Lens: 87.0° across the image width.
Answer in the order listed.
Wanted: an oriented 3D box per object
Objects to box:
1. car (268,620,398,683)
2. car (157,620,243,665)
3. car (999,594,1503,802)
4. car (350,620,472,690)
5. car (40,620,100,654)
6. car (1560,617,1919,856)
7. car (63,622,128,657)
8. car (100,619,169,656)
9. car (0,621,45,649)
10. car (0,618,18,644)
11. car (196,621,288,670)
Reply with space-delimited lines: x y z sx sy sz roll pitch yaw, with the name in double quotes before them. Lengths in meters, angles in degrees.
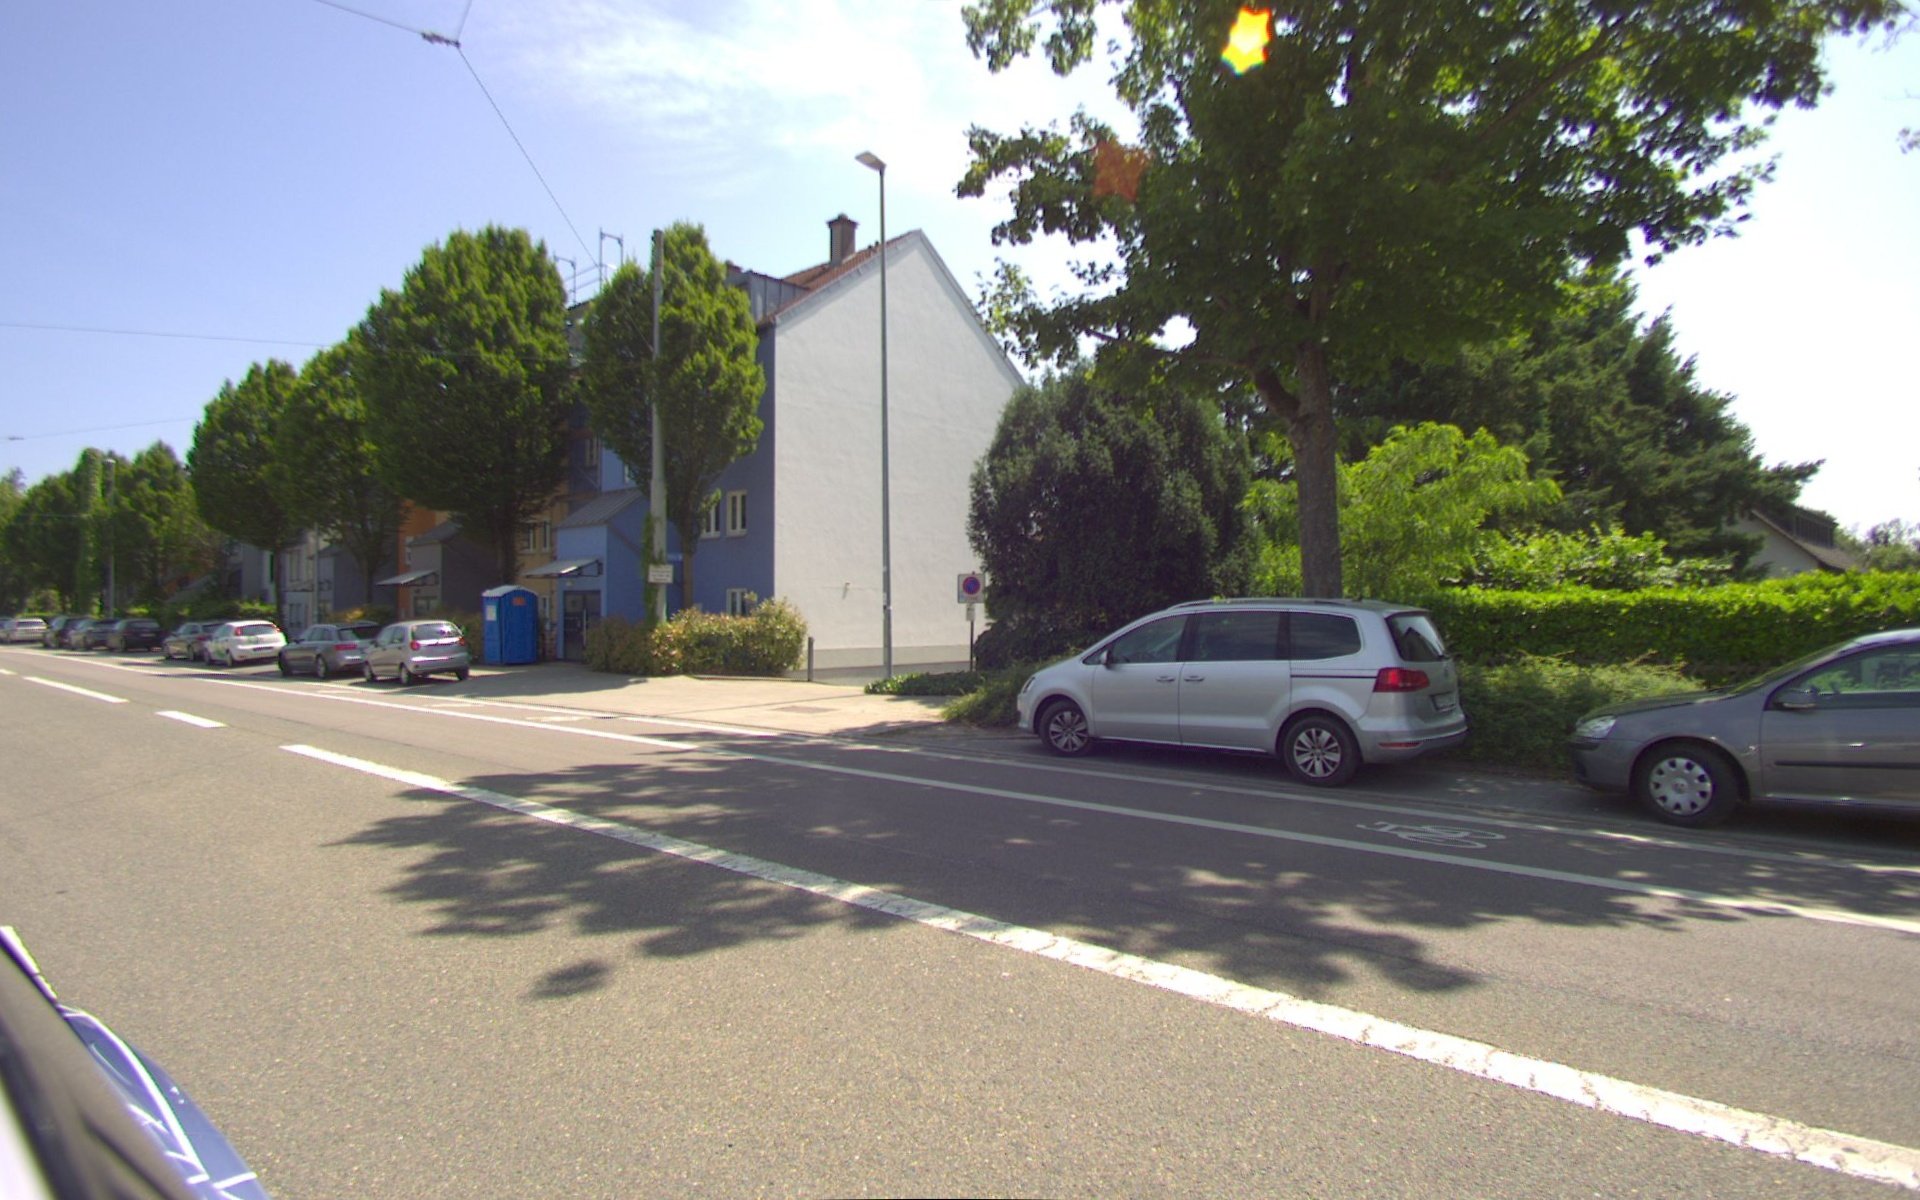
"car" -17.644 1.381 28.384 4.634 1.507 1.660 -1 2 40
"car" -28.986 1.581 38.565 4.078 1.507 1.636 -1 2 40
"car" 2.830 0.827 10.590 4.687 1.701 1.950 -1 -1 42
"car" -13.651 1.316 25.103 3.279 1.507 1.487 -1 3 40
"car" -46.205 1.899 52.515 4.078 1.599 1.636 -1 2 40
"car" 6.726 0.885 7.078 4.125 1.498 1.659 -1 0 41
"car" -41.648 1.881 48.737 4.078 1.507 1.636 -1 2 40
"car" -37.535 1.671 45.986 4.078 1.507 1.636 -1 2 40
"car" -55.334 2.025 59.442 4.078 1.507 1.702 -1 2 40
"car" -60.134 1.942 62.904 3.467 1.507 1.842 -1 2 39
"car" -24.898 1.540 35.052 3.646 1.507 1.636 -1 2 40
